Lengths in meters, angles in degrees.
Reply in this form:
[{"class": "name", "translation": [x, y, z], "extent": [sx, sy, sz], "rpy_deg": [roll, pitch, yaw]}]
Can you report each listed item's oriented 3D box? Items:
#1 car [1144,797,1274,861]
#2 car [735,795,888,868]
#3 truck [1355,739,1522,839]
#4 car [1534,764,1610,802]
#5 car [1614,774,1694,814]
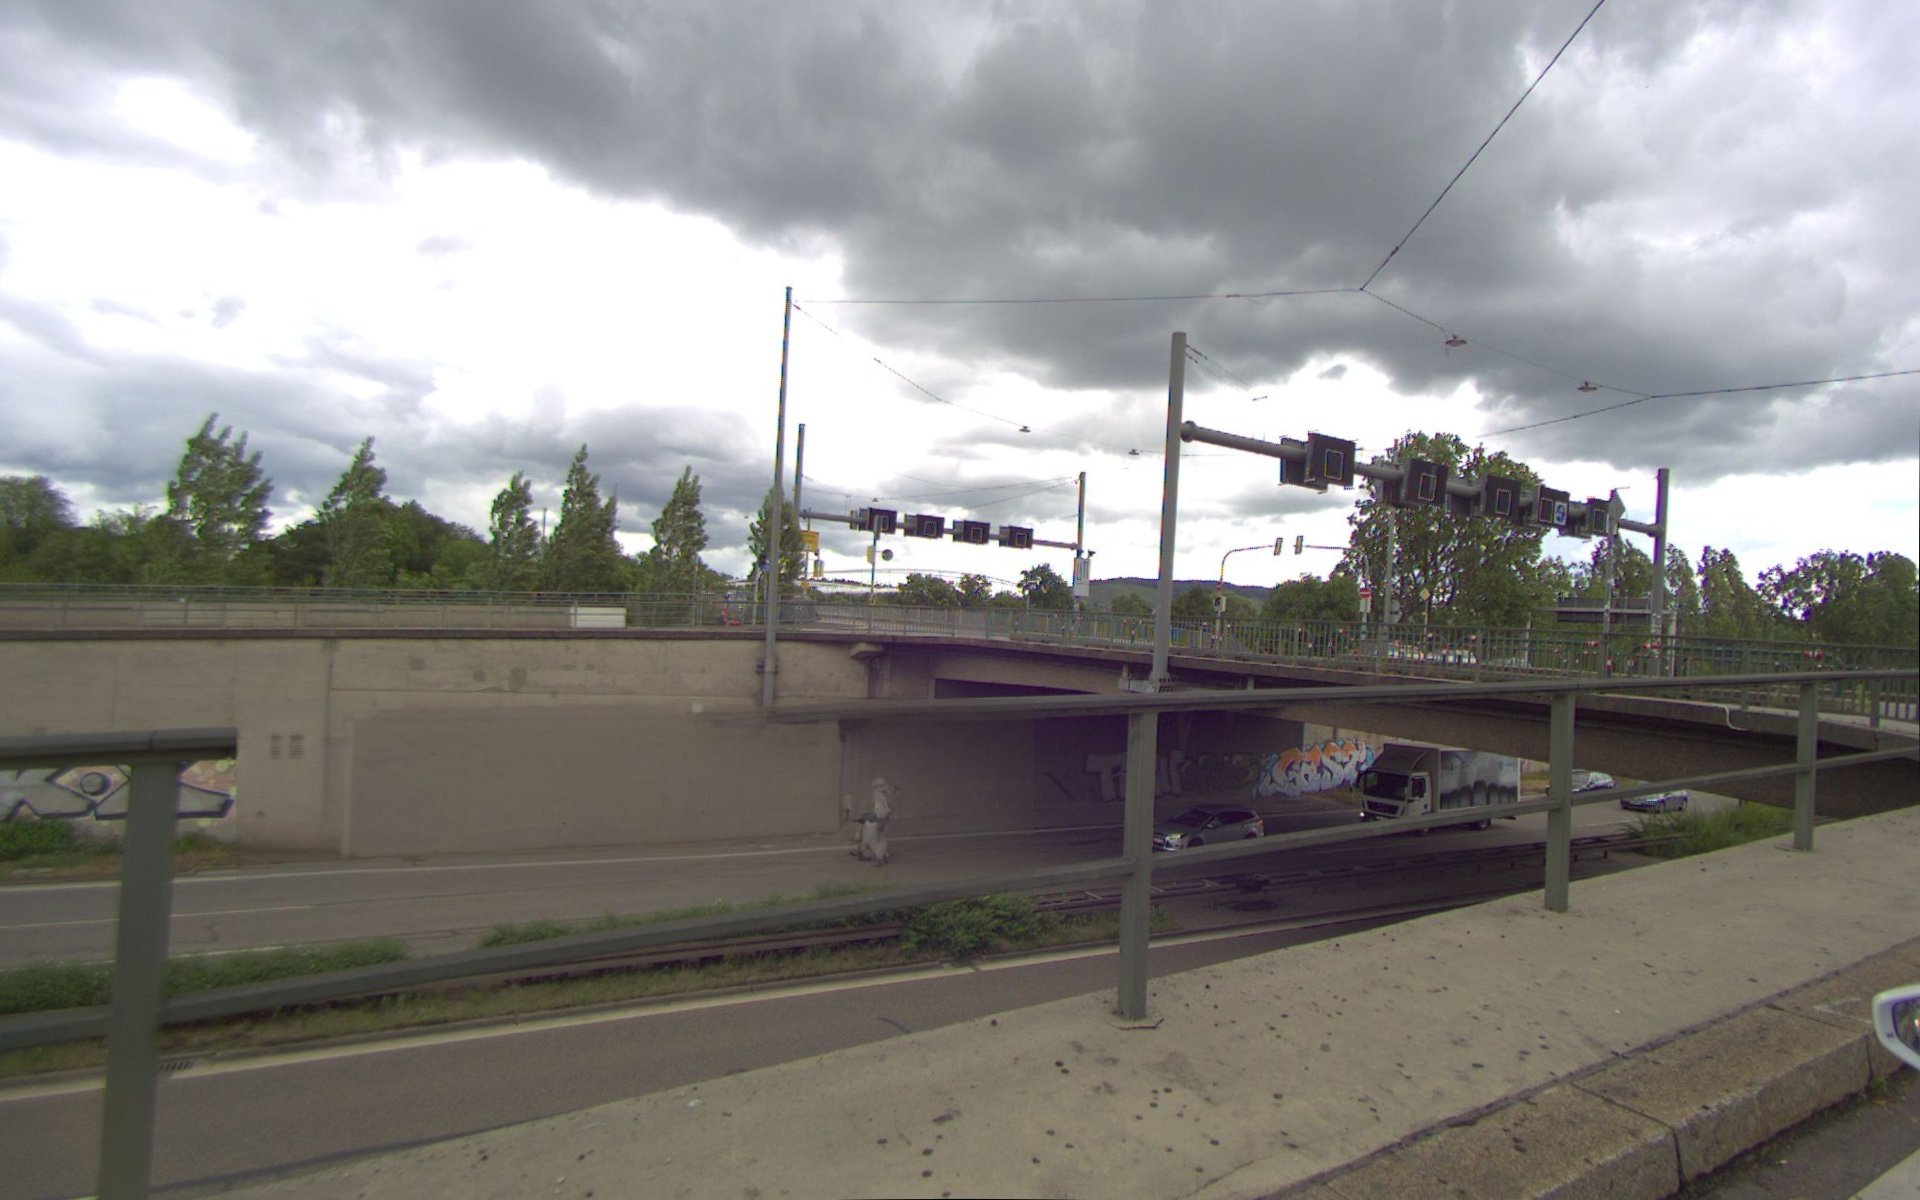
[{"class": "car", "translation": [8.554, 7.771, 34.373], "extent": [4.444, 1.632, 1.671], "rpy_deg": [4, -3, -32]}, {"class": "car", "translation": [-4.455, 6.921, 30.361], "extent": [4.206, 1.692, 1.703], "rpy_deg": [5, -3, -30]}, {"class": "truck", "translation": [20.057, 7.700, 41.865], "extent": [8.047, 3.506, 2.498], "rpy_deg": [5, -3, -34]}, {"class": "car", "translation": [33.178, 9.873, 54.408], "extent": [4.252, 1.632, 1.812], "rpy_deg": [4, -3, -32]}, {"class": "car", "translation": [35.461, 9.849, 51.293], "extent": [4.252, 1.632, 1.812], "rpy_deg": [5, -3, -32]}]
